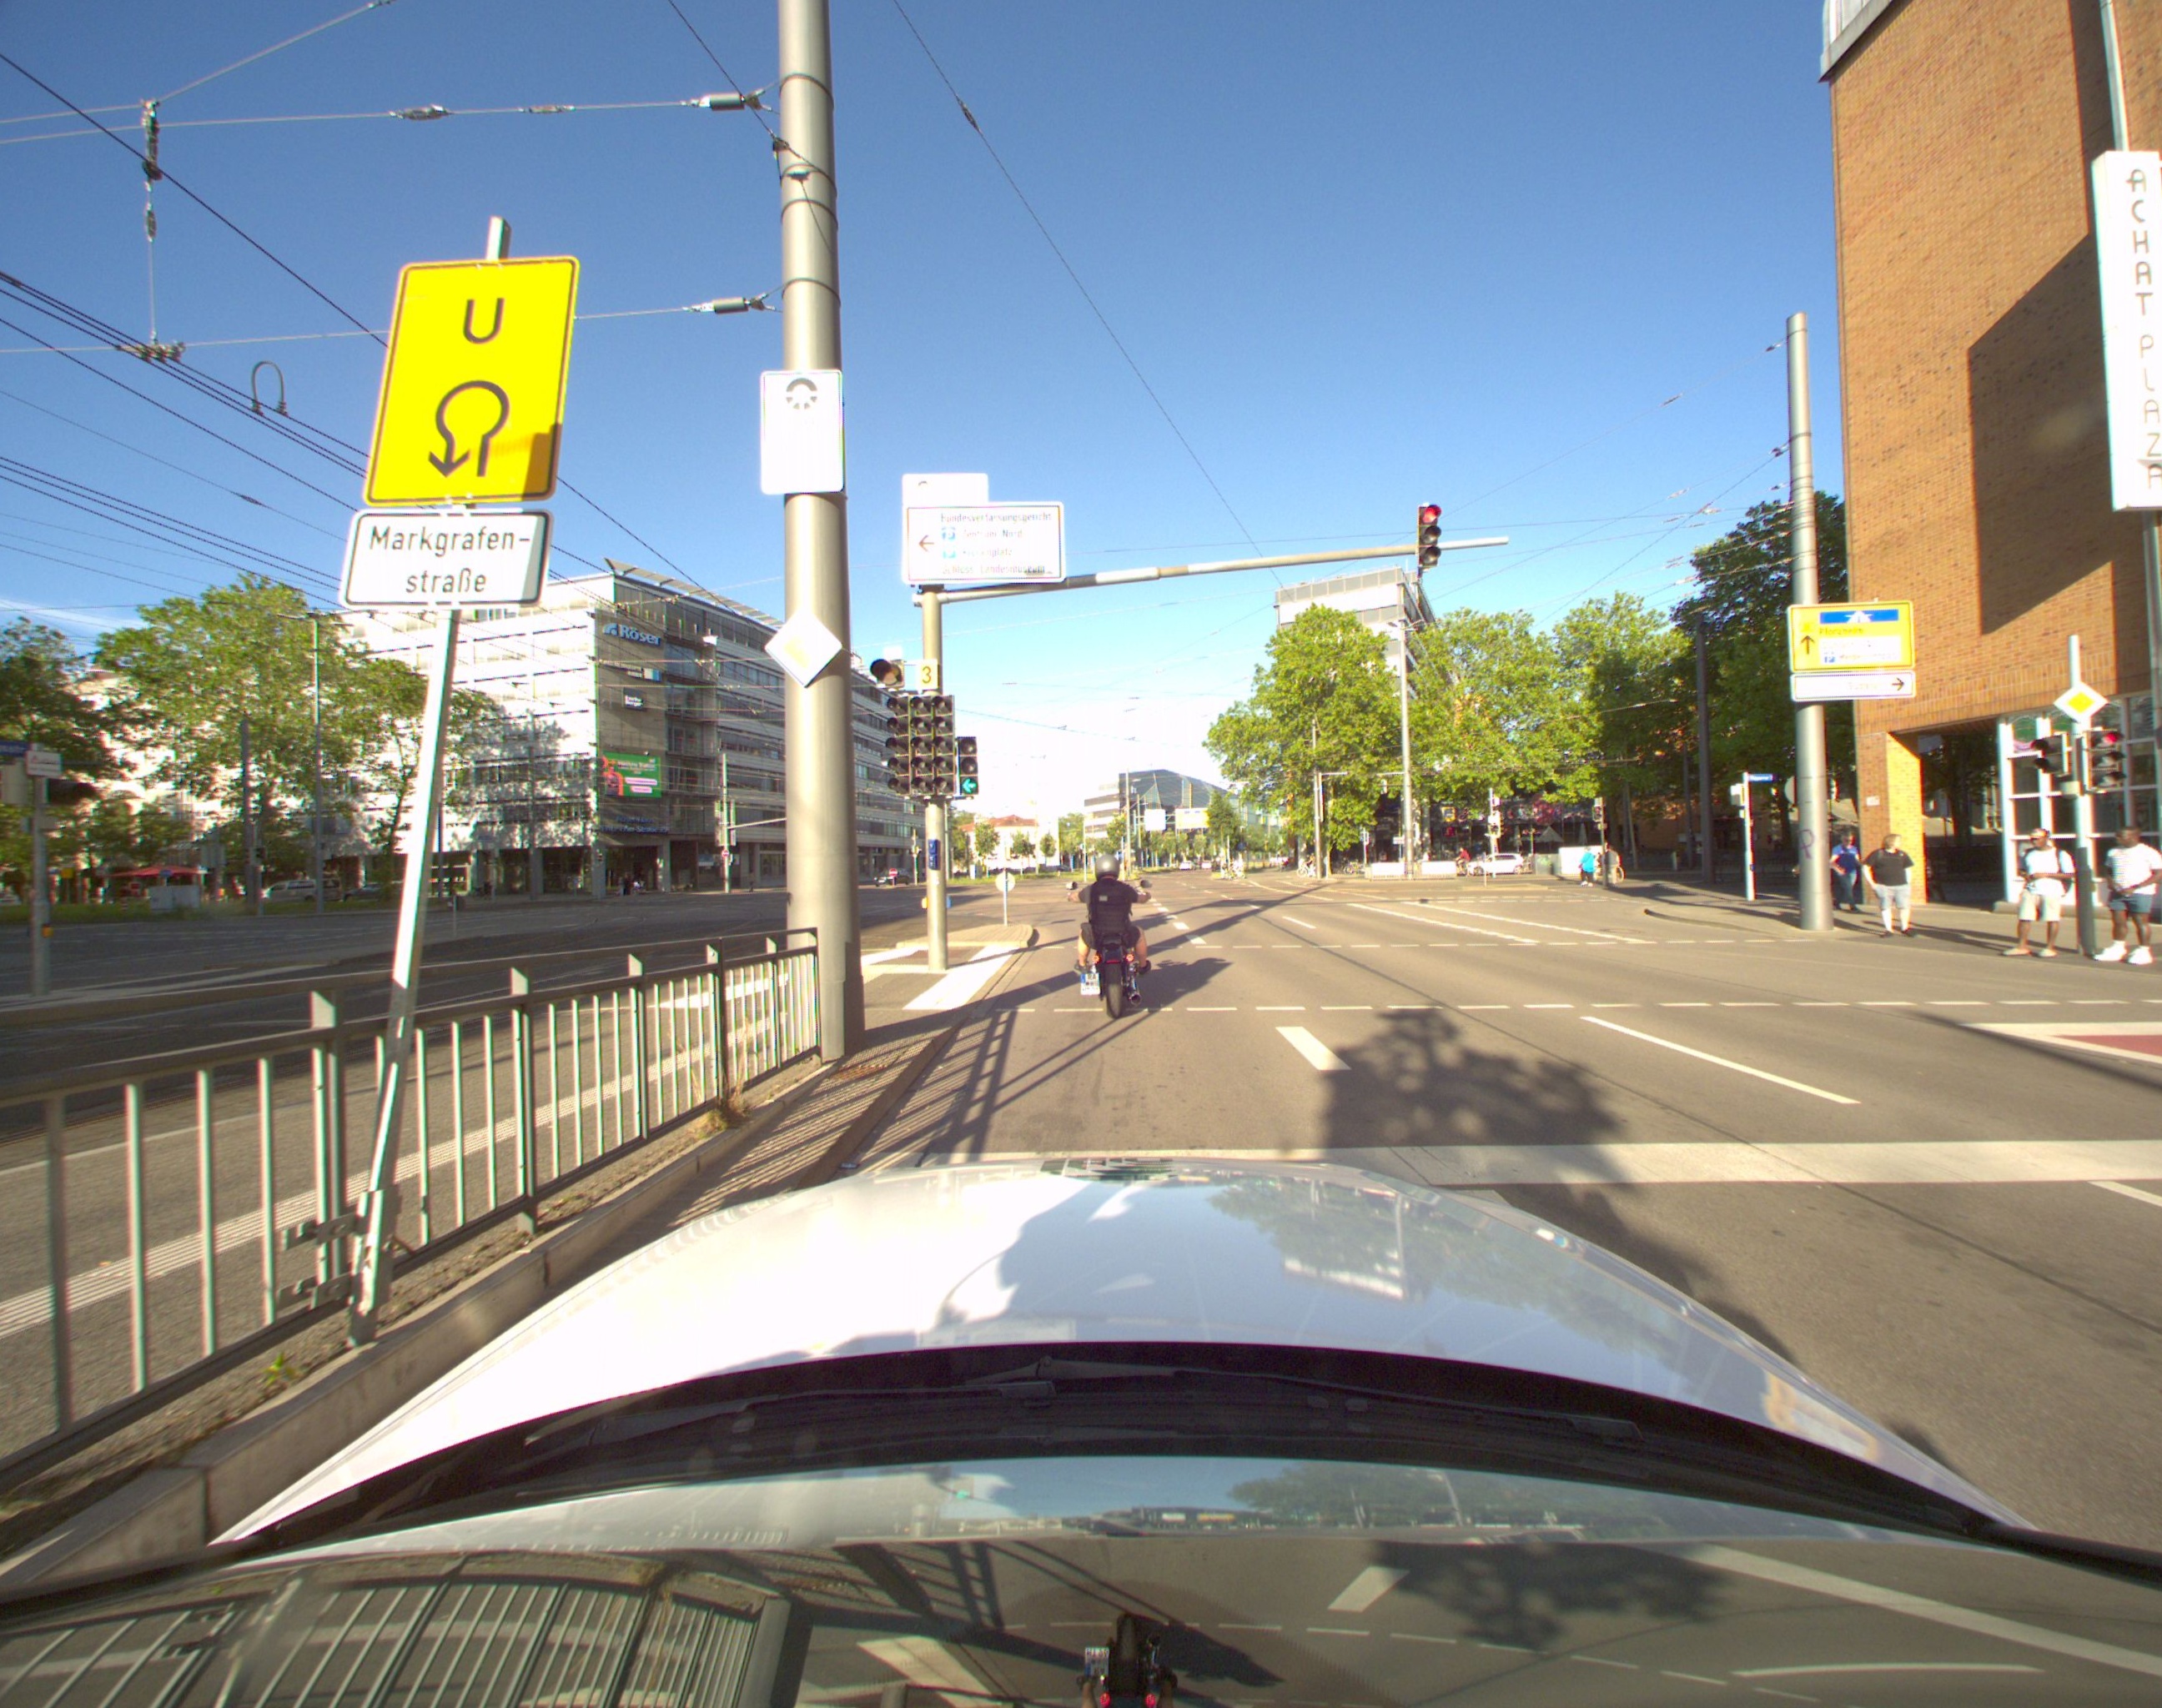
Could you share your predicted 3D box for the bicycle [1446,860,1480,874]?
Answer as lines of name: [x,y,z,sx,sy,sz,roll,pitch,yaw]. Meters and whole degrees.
bicycle: [25.033,0.840,53.388,1.844,0.910,0.653,-2,-1,5]

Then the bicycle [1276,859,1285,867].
bicycle: [32.915,1.460,134.196,1.031,1.133,3.196,-2,-1,21]

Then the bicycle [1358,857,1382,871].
bicycle: [22.139,0.752,62.368,1.692,0.986,0.392,-2,-1,15]

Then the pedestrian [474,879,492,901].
pedestrian: [-43.658,2.619,59.449,0.831,1.611,0.607,-1,2,2]

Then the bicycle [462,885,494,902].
bicycle: [-43.722,2.886,59.076,1.834,1.163,0.613,-1,2,3]

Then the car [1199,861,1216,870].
car: [21.731,1.985,139.899,1.999,1.376,4.058,-2,-1,19]

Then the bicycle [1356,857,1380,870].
bicycle: [22.586,0.768,64.114,1.692,0.986,0.392,-2,-1,15]

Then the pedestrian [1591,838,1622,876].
pedestrian: [22.359,0.121,34.672,0.767,1.594,0.838,0,-1,1]

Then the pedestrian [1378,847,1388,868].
pedestrian: [27.723,0.325,74.775,0.840,1.852,0.813,1,-1,16]

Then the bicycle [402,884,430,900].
bicycle: [-51.380,2.910,62.950,0.466,1.151,1.843,-1,1,9]

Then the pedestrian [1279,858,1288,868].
pedestrian: [21.744,1.001,87.518,0.777,1.057,0.819,-2,-1,24]

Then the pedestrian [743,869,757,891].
pedestrian: [-28.561,2.248,70.275,0.672,1.823,0.886,-3,-1,3]

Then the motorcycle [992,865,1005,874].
motorcycle: [-12.180,2.329,120.274,0.977,1.232,2.953,-2,-1,13]

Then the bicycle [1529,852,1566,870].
bicycle: [35.233,0.544,61.455,2.938,1.235,0.870,-2,0,-26]

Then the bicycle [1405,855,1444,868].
bicycle: [29.270,0.641,69.481,3.015,1.113,0.839,-2,-1,21]

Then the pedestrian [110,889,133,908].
pedestrian: [-82.104,3.818,69.664,0.985,1.546,0.875,-2,-1,9]

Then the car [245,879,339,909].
car: [-56.402,2.861,58.275,4.888,1.843,1.930,-2,2,3]

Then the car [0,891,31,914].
car: [-79.871,3.590,59.659,3.835,1.638,1.868,-2,0,6]

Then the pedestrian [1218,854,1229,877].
pedestrian: [11.628,0.919,66.354,0.693,1.837,0.518,-1,-2,37]

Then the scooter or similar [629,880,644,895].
scooter or similar: [-34.651,2.622,63.489,1.021,1.129,0.545,-1,-1,-27]

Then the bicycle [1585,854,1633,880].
bicycle: [22.354,0.542,34.521,0.786,1.052,1.923,0,-1,2]

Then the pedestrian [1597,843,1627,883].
pedestrian: [20.826,0.341,31.974,0.649,1.540,0.741,0,-1,-6]

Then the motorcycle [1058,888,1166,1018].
motorcycle: [0.326,0.972,8.774,1.002,1.125,2.324,0,0,2]

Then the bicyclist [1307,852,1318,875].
bicyclist: [17.642,0.734,62.159,0.737,1.694,0.572,-2,-1,13]

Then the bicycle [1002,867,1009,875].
bicycle: [-11.875,2.673,127.738,0.639,1.107,1.689,-1,-1,8]

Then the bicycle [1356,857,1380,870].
bicycle: [22.452,0.721,63.697,1.692,0.986,0.392,-2,-1,15]

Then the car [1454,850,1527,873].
car: [27.681,0.521,55.135,3.967,1.486,2.003,0,-1,6]

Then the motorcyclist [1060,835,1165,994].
motorcyclist: [0.327,0.596,8.636,1.018,1.552,1.287,0,-1,1]

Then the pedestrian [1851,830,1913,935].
pedestrian: [13.826,0.476,14.059,0.577,1.767,0.687,-1,0,-39]

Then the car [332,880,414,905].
car: [-50.716,2.759,58.408,4.378,1.572,1.869,-2,2,6]

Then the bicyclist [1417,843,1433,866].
bicyclist: [29.321,0.010,69.455,1.216,1.931,0.839,-2,-1,21]

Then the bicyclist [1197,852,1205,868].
bicyclist: [19.492,0.936,132.534,1.008,2.624,1.479,-2,-1,18]

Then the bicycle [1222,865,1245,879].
bicycle: [12.037,1.420,64.315,1.612,1.021,0.519,-2,-1,25]

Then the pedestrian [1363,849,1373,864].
pedestrian: [28.621,0.258,81.176,0.768,1.527,0.567,-2,-1,29]

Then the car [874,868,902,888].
car: [-16.148,1.970,68.318,1.789,1.466,4.301,-2,0,-6]

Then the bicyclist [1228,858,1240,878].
bicyclist: [12.084,1.090,64.285,0.736,1.503,0.573,-3,-2,25]

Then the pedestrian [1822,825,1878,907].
pedestrian: [16.474,0.252,17.457,0.599,1.727,0.603,0,-1,3]

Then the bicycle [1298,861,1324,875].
bicycle: [17.540,1.096,62.163,1.840,1.021,0.518,-2,-1,13]

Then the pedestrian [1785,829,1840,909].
pedestrian: [15.729,0.323,17.524,0.559,1.704,0.659,0,-1,3]

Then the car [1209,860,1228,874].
car: [19.525,1.847,115.588,2.036,1.874,4.247,-1,-1,19]

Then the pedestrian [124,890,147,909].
pedestrian: [-80.782,3.886,69.581,0.986,1.546,0.874,-1,-1,6]

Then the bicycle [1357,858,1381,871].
bicycle: [22.334,0.796,63.209,1.692,0.986,0.392,-2,-1,15]

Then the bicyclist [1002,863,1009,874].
bicyclist: [-11.879,2.231,127.705,0.759,1.667,0.996,-1,-1,9]

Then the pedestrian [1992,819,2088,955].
pedestrian: [13.513,0.460,11.487,0.500,1.833,0.725,-2,-2,-33]

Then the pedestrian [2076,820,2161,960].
pedestrian: [13.680,0.466,10.715,0.401,1.774,0.581,-4,-1,15]

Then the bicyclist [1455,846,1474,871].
bicyclist: [25.152,0.293,53.362,0.921,1.615,0.638,-1,-1,5]

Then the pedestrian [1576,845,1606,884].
pedestrian: [19.999,0.411,31.954,0.674,1.540,0.741,0,-1,-6]

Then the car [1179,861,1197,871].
car: [16.196,1.805,123.327,1.886,1.508,4.019,-1,-1,18]

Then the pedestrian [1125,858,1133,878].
pedestrian: [3.892,1.165,66.162,0.654,1.582,0.490,-1,0,5]

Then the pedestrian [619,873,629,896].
pedestrian: [-35.406,2.343,63.110,0.640,1.708,0.576,-1,-1,-28]

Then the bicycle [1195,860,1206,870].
bicycle: [19.482,1.810,132.577,1.008,1.580,3.591,-2,-1,19]
